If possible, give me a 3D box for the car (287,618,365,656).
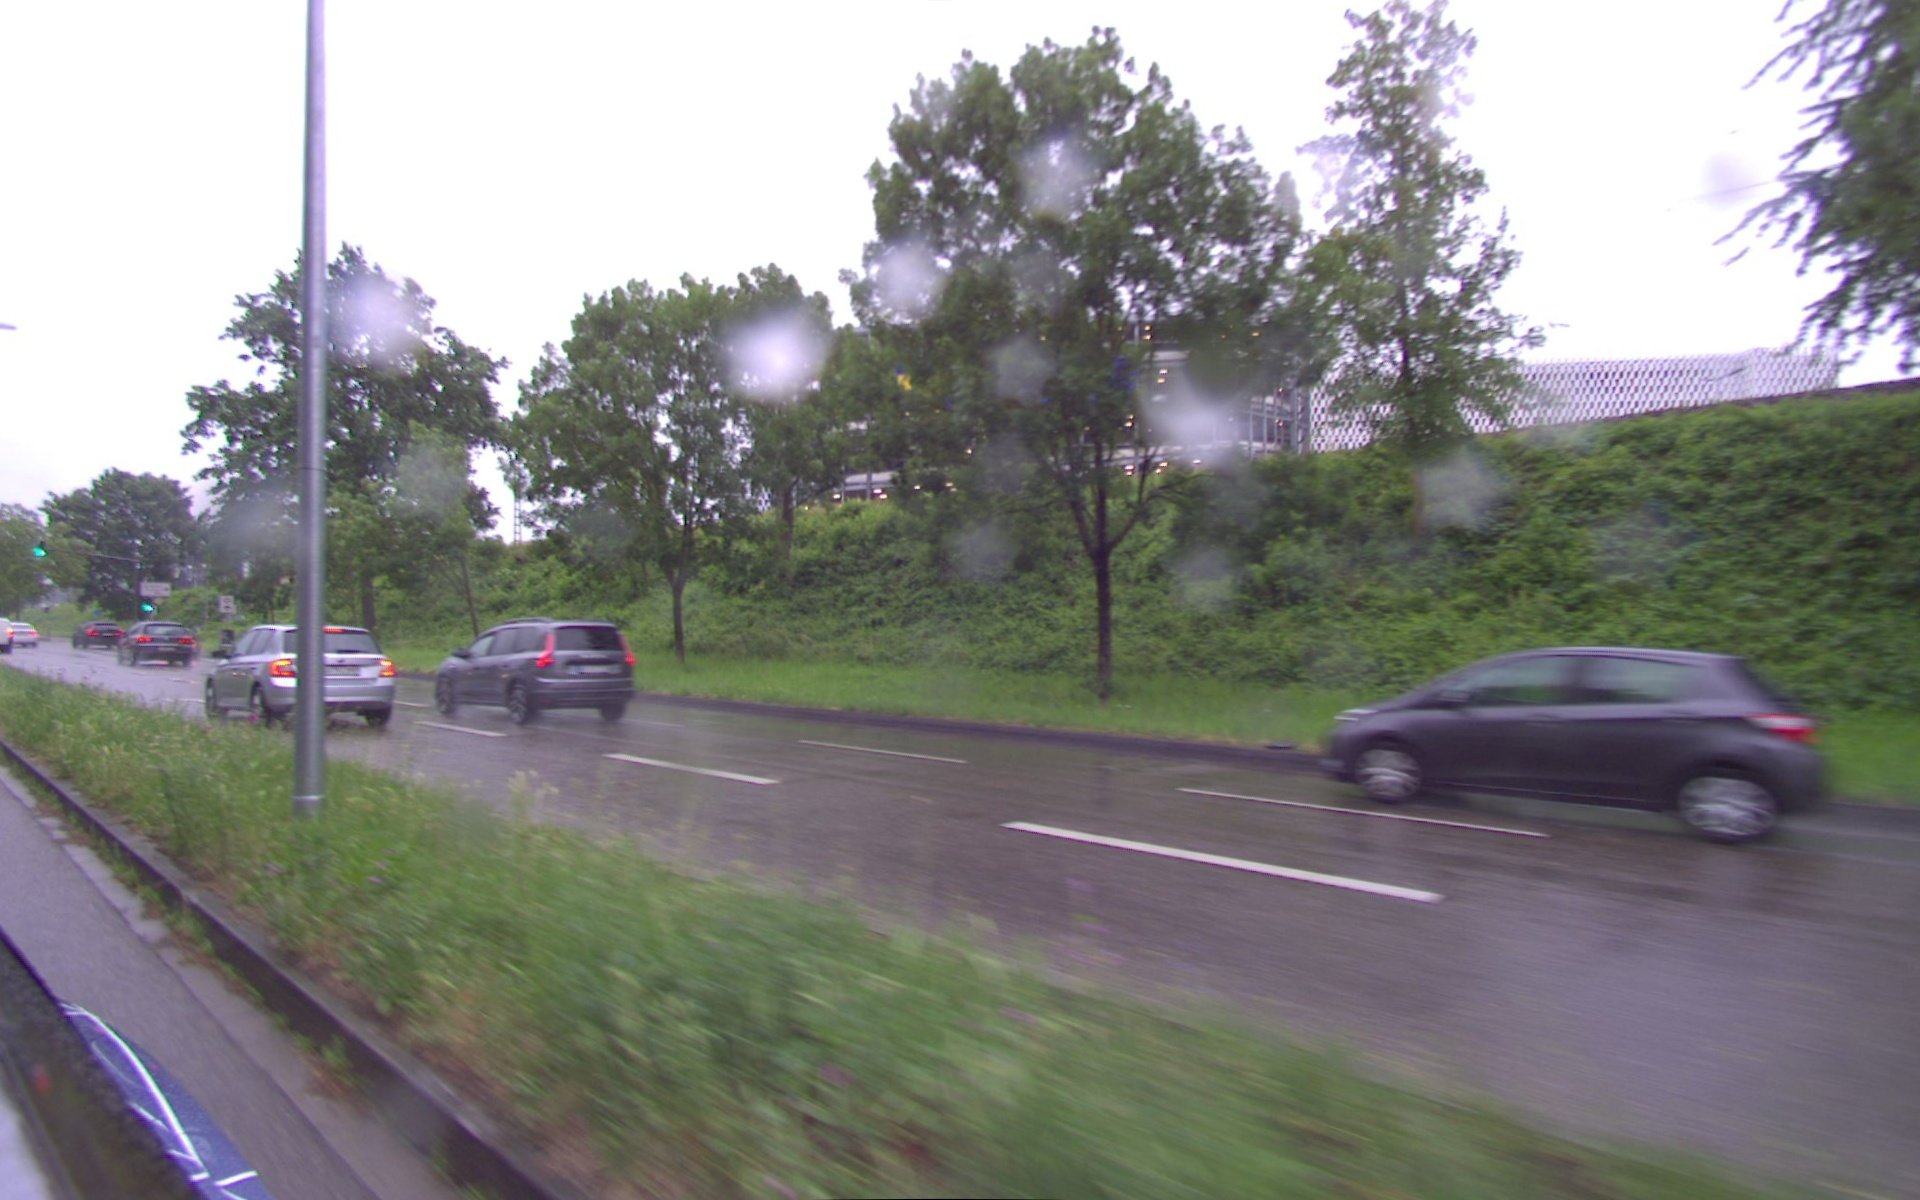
[{"bbox_3d":[-30.922,1.815,49.333,4.708,1.701,1.972,-2,-5,43],"label":"car"}]

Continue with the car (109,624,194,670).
[{"bbox_3d":[-30.483,1.765,38.123,4.112,1.625,1.877,-2,-5,43],"label":"car"}]

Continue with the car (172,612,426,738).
[{"bbox_3d":[-9.889,1.065,15.054,4.106,1.625,1.880,-1,-5,38],"label":"car"}]

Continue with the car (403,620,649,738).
[{"bbox_3d":[-7.375,1.255,16.963,4.708,1.701,1.972,-2,-5,43],"label":"car"}]

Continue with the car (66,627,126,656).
[{"bbox_3d":[-52.019,2.490,60.896,4.676,1.673,2.016,-1,-3,41],"label":"car"}]

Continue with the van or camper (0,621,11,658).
[{"bbox_3d":[-47.853,1.908,49.399,3.998,1.755,1.710,-1,-5,41],"label":"van or camper"}]

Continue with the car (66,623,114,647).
[{"bbox_3d":[-61.149,2.425,71.124,4.403,1.625,1.878,-1,-3,41],"label":"car"}]

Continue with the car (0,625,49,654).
[{"bbox_3d":[-56.305,2.343,60.692,4.710,1.625,1.878,-1,-5,42],"label":"car"}]

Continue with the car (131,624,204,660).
[{"bbox_3d":[-37.791,1.990,48.242,4.475,1.625,1.878,-1,-3,41],"label":"car"}]

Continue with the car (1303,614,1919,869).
[{"bbox_3d":[5.674,1.045,8.815,4.708,1.701,1.972,-2,-4,43],"label":"car"}]
